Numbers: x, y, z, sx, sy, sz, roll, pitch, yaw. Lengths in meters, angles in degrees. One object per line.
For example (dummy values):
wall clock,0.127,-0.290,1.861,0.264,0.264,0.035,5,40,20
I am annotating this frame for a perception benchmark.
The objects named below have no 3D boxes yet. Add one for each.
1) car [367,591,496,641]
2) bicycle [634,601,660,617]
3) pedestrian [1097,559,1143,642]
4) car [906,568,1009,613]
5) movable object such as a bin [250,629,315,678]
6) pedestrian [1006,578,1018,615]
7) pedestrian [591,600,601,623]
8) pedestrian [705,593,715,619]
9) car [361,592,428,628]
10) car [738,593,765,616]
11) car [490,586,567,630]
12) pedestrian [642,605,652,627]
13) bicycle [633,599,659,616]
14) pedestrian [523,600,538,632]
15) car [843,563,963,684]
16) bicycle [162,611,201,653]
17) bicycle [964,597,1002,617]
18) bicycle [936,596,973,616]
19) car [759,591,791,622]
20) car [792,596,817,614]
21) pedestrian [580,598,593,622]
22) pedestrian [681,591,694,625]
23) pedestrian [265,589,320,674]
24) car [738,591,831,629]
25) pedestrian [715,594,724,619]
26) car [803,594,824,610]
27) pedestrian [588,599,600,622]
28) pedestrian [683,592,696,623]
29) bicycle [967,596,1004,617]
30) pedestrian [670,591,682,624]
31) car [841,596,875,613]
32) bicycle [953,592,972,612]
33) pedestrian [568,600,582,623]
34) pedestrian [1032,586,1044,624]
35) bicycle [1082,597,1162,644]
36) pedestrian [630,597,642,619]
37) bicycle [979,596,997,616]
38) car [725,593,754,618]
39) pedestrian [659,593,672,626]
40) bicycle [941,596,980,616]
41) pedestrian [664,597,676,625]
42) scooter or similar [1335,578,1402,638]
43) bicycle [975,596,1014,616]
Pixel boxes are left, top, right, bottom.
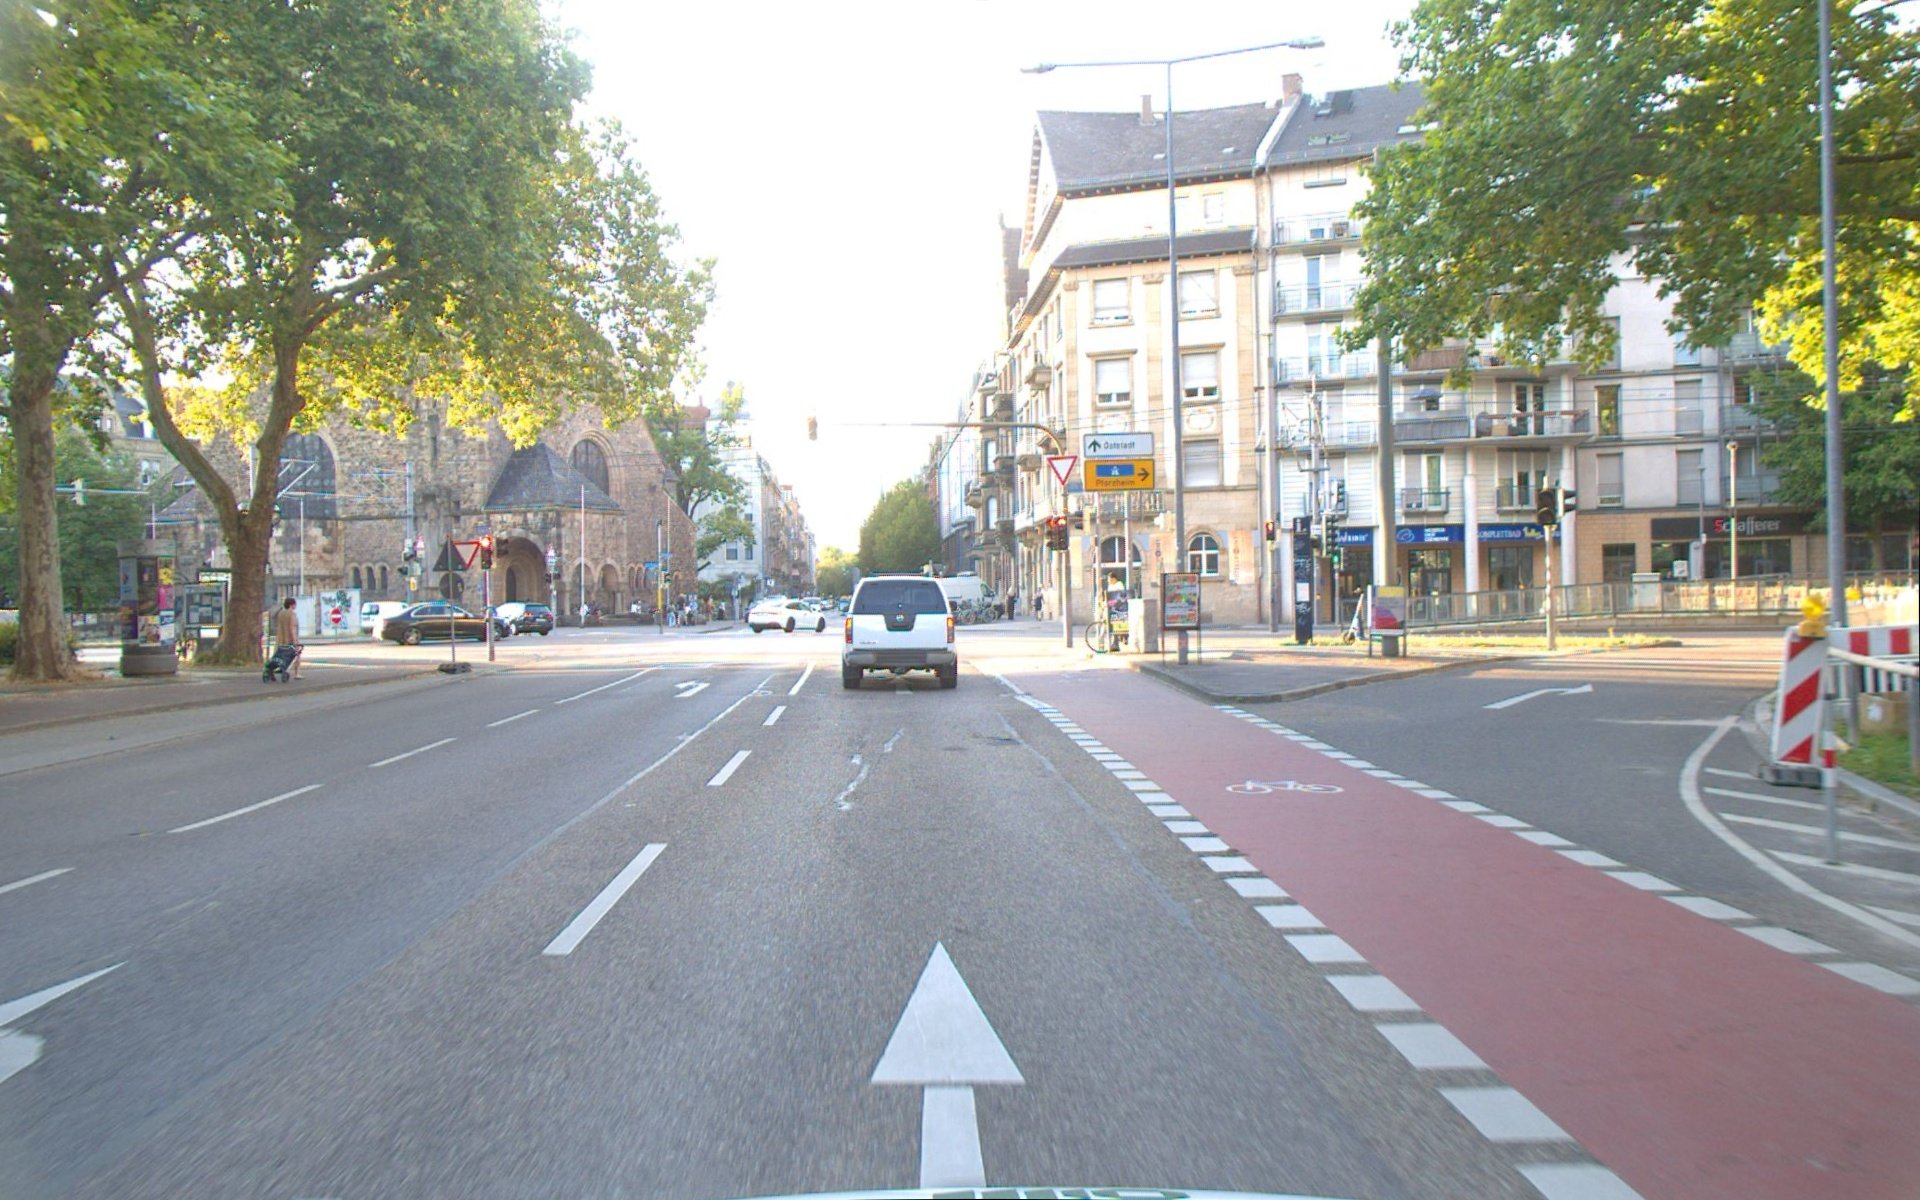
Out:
car,-19.326,0.566,60.489,4.206,1.680,1.980,-1,0,-30
bicycle,-19.023,0.550,100.584,1.467,0.985,0.395,-1,0,8
pedestrian,3.546,0.005,36.697,0.782,1.799,0.718,-1,0,-17
car,-0.091,-0.531,89.596,5.776,2.328,2.040,-1,1,-43
movable object such as a bin,-13.201,1.044,32.257,0.722,0.906,0.983,-1,0,12
pedestrian,2.683,-0.182,85.401,0.581,1.919,0.647,-1,0,2
pedestrian,-20.821,0.667,94.598,0.491,1.303,0.489,-1,0,-24
pedestrian,-19.079,0.449,126.288,0.545,1.919,0.590,-1,0,-26
car,-31.973,0.571,93.609,1.673,1.943,3.494,-1,0,23
car,-15.577,0.358,123.678,1.956,1.680,3.815,0,0,-7
car,-19.674,0.347,75.253,2.059,1.873,4.578,-2,1,-33
pedestrian,-18.862,0.942,99.584,0.481,1.309,0.499,-1,0,-3
bicycle,-19.046,0.476,100.219,1.467,0.985,0.395,-1,0,8
pedestrian,-21.768,0.804,83.880,0.544,1.611,0.549,-1,0,8
car,-0.903,0.349,27.245,1.828,1.846,3.999,0,0,-1
bicycle,-20.377,0.816,43.276,0.540,1.061,1.896,-1,0,-37
bicycle,1.137,0.336,83.070,1.876,0.985,0.545,-1,0,-1
bicycle,-0.275,0.307,84.580,1.876,0.985,0.545,-1,0,-1
car,-10.568,0.365,94.141,1.748,1.680,3.815,0,0,-7
car,-13.001,0.417,138.260,1.956,1.533,3.815,0,0,-7
pedestrian,-21.461,0.589,94.967,0.560,1.343,0.487,-1,0,12
pedestrian,-15.924,0.465,96.674,0.640,1.919,0.586,-1,0,3
pedestrian,-13.289,0.624,32.942,0.722,1.657,0.686,-1,0,12
car,-7.665,0.420,72.840,1.954,1.556,4.641,-1,1,25
pedestrian,-18.389,0.507,126.462,0.540,1.919,0.596,-1,0,12
car,-14.517,0.221,163.799,1.956,1.533,3.815,0,0,-7
pedestrian,-20.839,0.610,94.153,0.487,1.309,0.493,-1,0,17
pedestrian,-16.722,0.468,102.178,0.580,1.919,0.554,-1,0,14
bicycle,1.286,0.321,83.352,1.876,0.985,0.545,-1,0,-1
pedestrian,-16.589,0.443,96.700,0.581,1.919,0.554,-1,0,2
car,-12.181,0.530,196.844,3.910,1.847,1.998,-1,0,-6
bicycle,0.128,0.103,85.890,0.532,0.985,1.923,-1,0,14
pedestrian,-21.875,0.649,93.989,0.560,1.313,0.487,-1,0,12
pedestrian,3.811,0.244,80.934,0.581,1.799,0.653,-1,0,2
bicycle,3.538,0.438,36.199,1.659,0.985,0.545,-1,0,-6
pedestrian,-19.481,0.480,99.374,0.560,1.313,0.487,-1,0,12
bicycle,1.449,0.316,85.499,0.532,0.985,1.923,-1,0,14
car,-15.429,0.377,115.892,1.956,1.680,3.815,0,0,-7
pedestrian,-17.204,0.573,96.645,0.581,1.919,0.554,-1,0,3
bicycle,0.027,0.311,83.778,1.879,0.985,0.544,-1,0,-9
pedestrian,-20.377,0.763,116.177,0.581,1.919,0.553,-1,0,20
scooter or similar,8.835,0.174,35.794,0.540,1.272,1.371,-1,0,-39
bicycle,1.751,0.325,84.138,1.874,0.985,0.546,-1,0,15
